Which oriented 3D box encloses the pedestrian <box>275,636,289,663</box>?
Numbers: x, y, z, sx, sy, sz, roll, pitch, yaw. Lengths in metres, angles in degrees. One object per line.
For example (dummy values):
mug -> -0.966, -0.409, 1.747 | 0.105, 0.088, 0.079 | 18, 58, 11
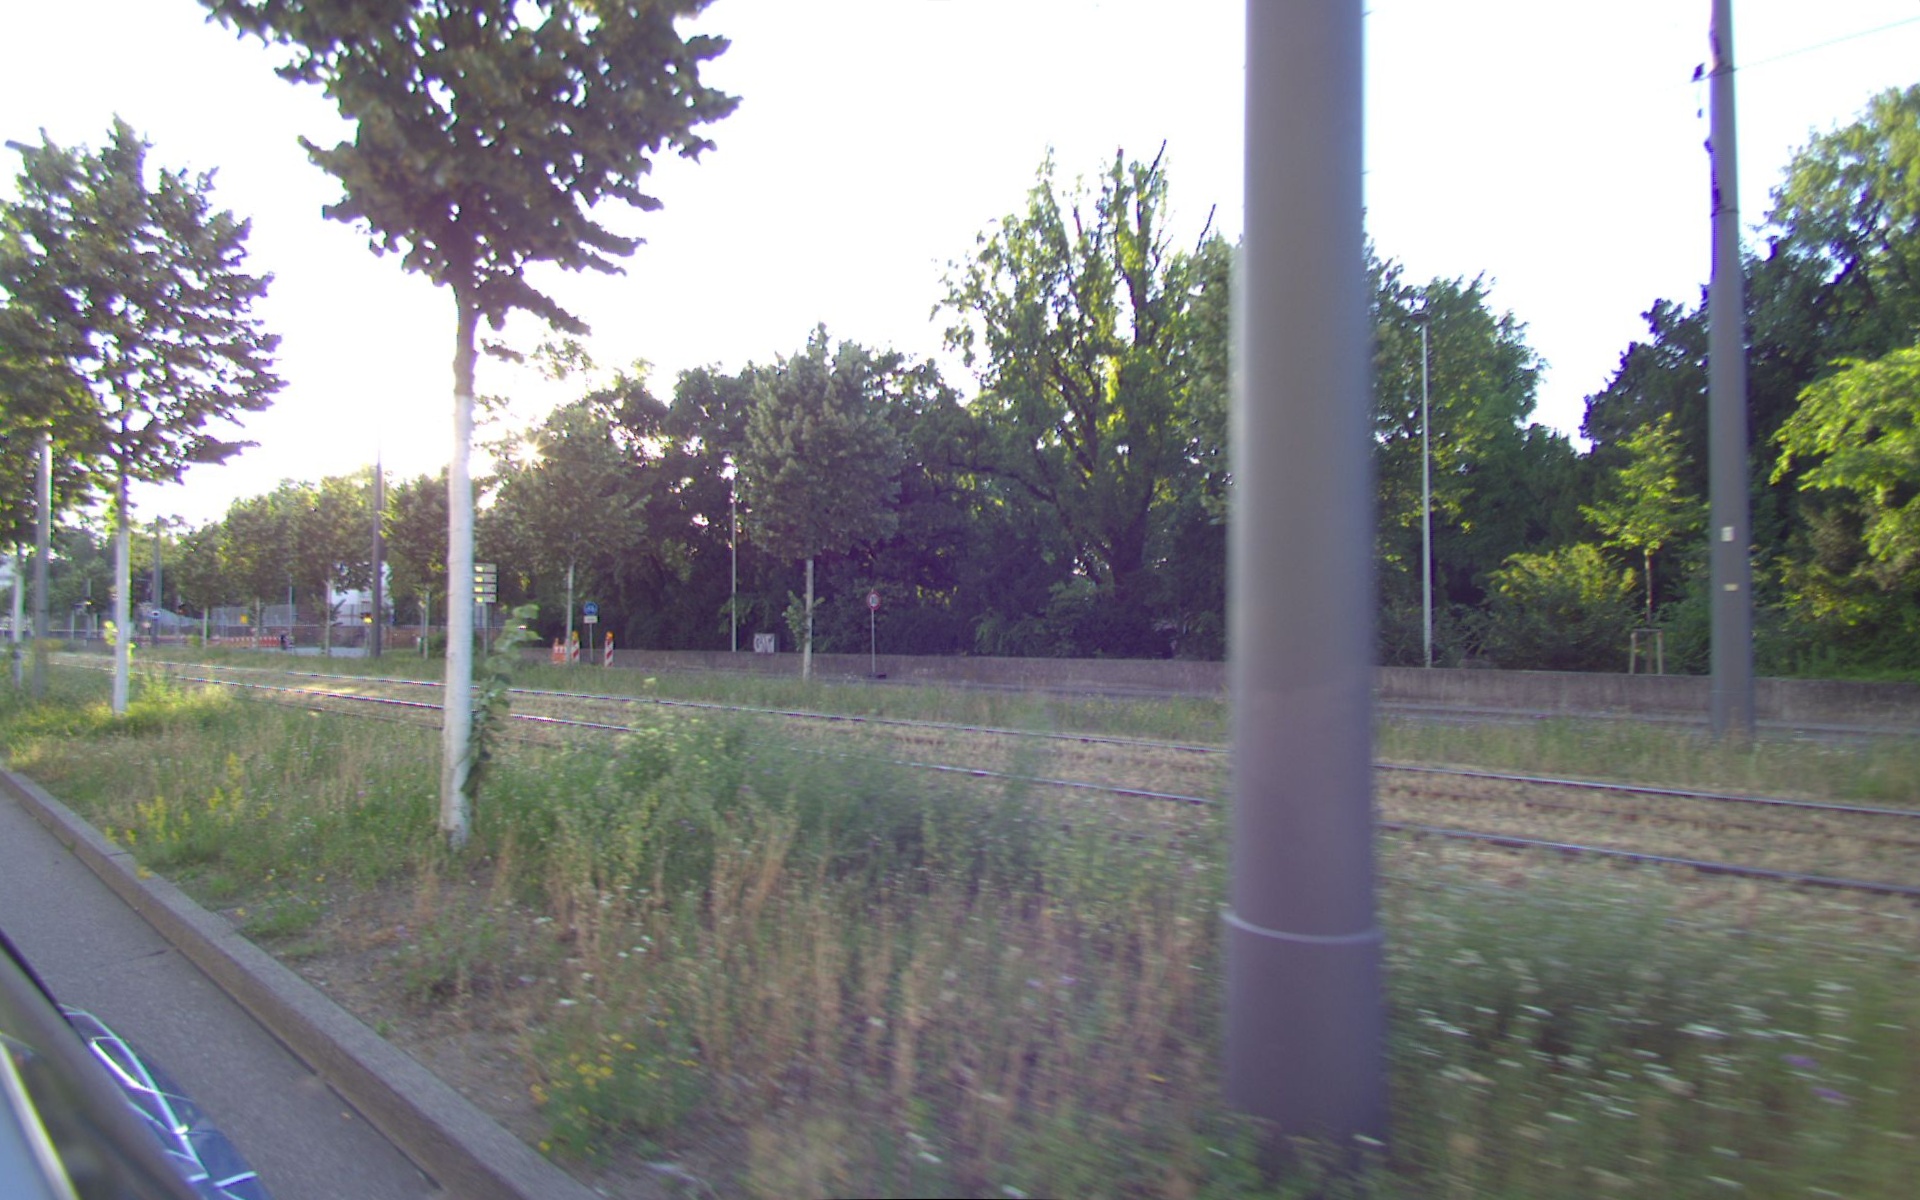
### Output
pedestrian -> -42.280, 3.108, 63.091 | 0.660, 1.620, 0.679 | -1, -5, -35
